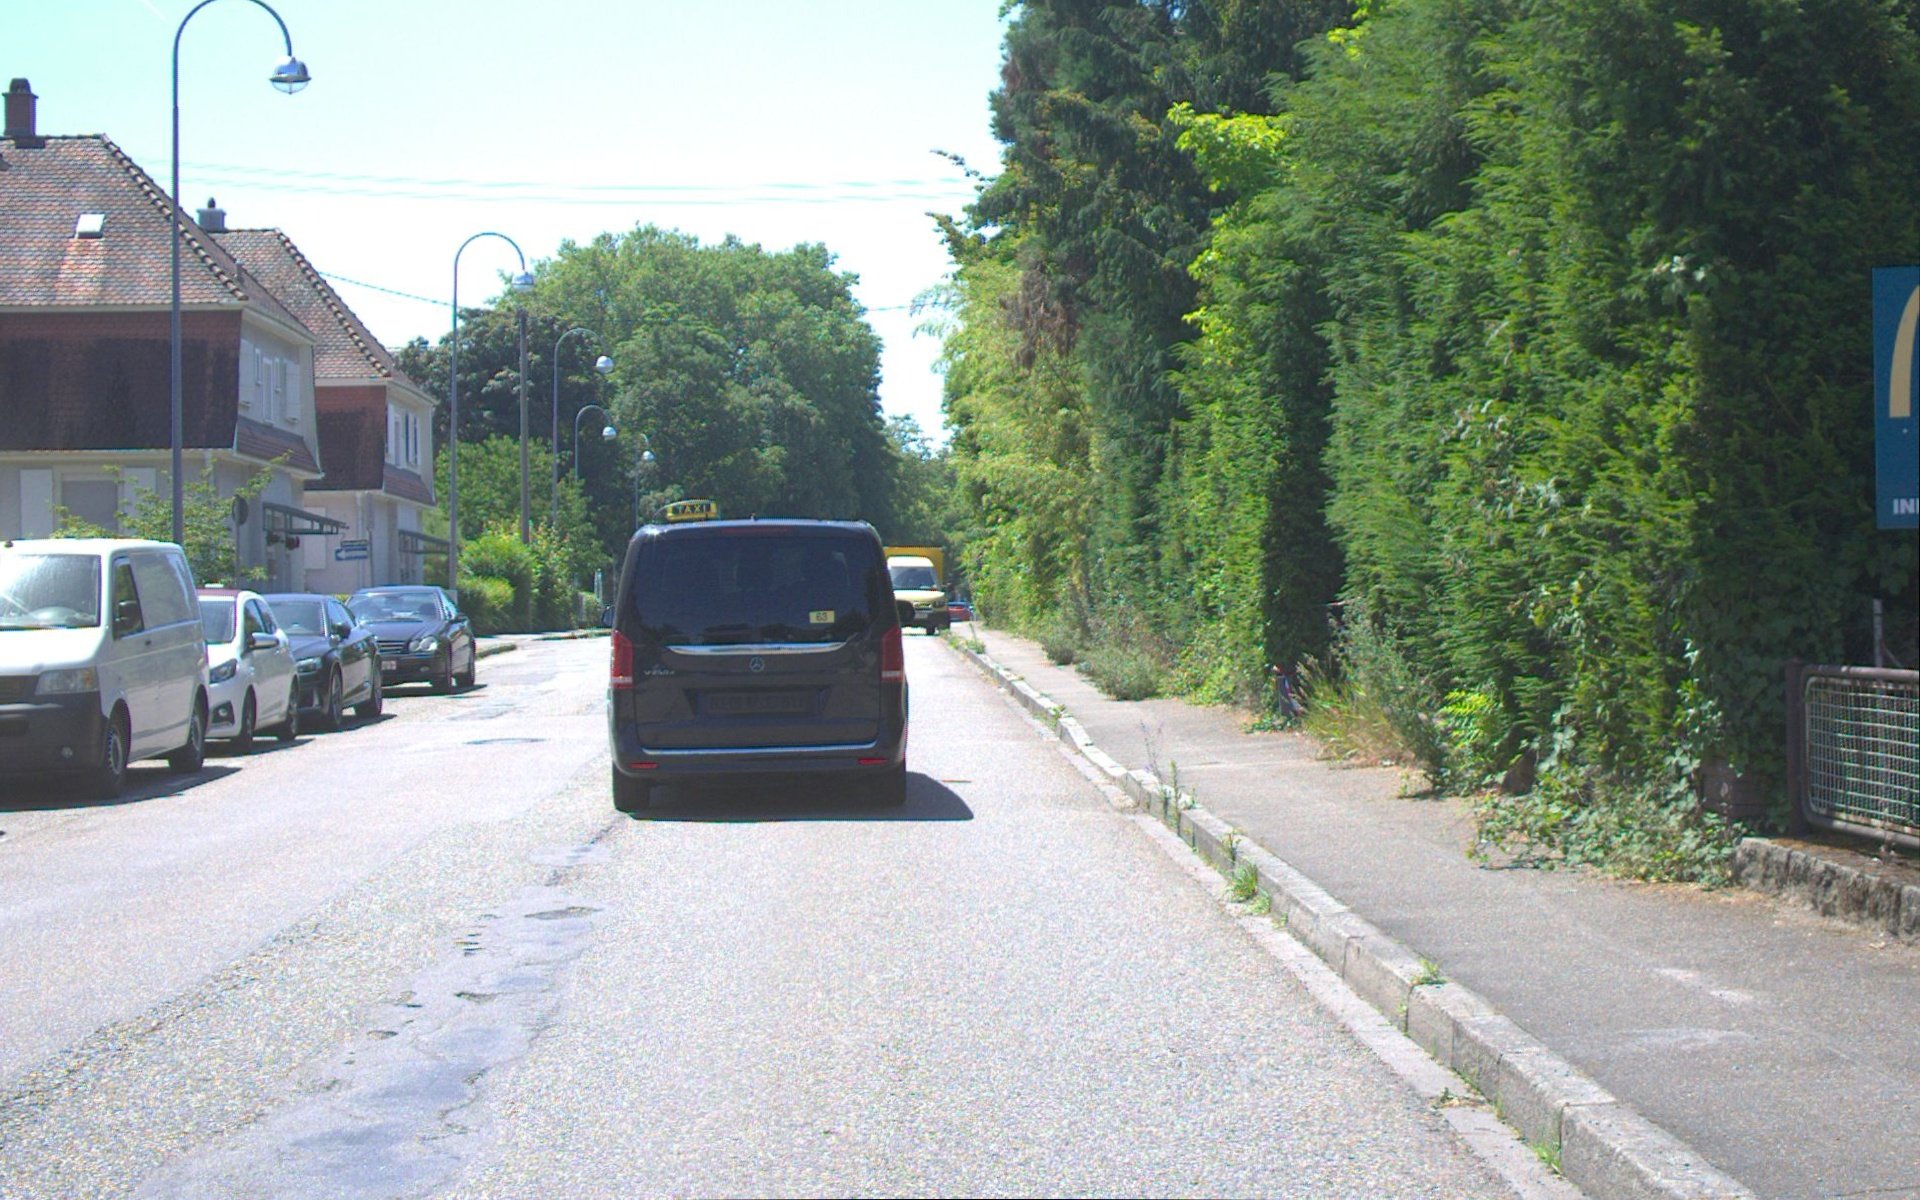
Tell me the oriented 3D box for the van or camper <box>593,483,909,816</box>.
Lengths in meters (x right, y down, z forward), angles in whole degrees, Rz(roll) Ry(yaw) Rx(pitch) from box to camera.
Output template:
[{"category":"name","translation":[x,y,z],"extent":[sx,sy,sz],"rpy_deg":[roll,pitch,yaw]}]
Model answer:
[{"category":"van or camper","translation":[-1.315,0.292,23.392],"extent":[1.902,2.007,5.270],"rpy_deg":[0,0,-1]}]

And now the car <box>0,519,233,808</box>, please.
[{"category":"car","translation":[-6.946,0.446,26.090],"extent":[1.878,1.956,4.626],"rpy_deg":[-3,1,-1]}]

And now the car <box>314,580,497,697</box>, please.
[{"category":"car","translation":[-7.281,0.476,45.499],"extent":[1.666,1.381,4.380],"rpy_deg":[-3,1,0]}]

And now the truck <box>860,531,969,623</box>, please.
[{"category":"truck","translation":[-1.225,-0.570,88.713],"extent":[2.355,2.251,6.093],"rpy_deg":[-1,0,-5]}]

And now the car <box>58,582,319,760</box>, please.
[{"category":"car","translation":[-7.051,0.613,31.707],"extent":[1.666,1.487,3.478],"rpy_deg":[-1,1,-1]}]

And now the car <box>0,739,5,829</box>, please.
[{"category":"car","translation":[-6.889,0.764,19.895],"extent":[1.686,1.520,4.063],"rpy_deg":[-3,1,-3]}]

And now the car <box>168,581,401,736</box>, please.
[{"category":"car","translation":[-7.058,0.567,36.320],"extent":[1.666,1.487,4.466],"rpy_deg":[-1,1,-1]}]
